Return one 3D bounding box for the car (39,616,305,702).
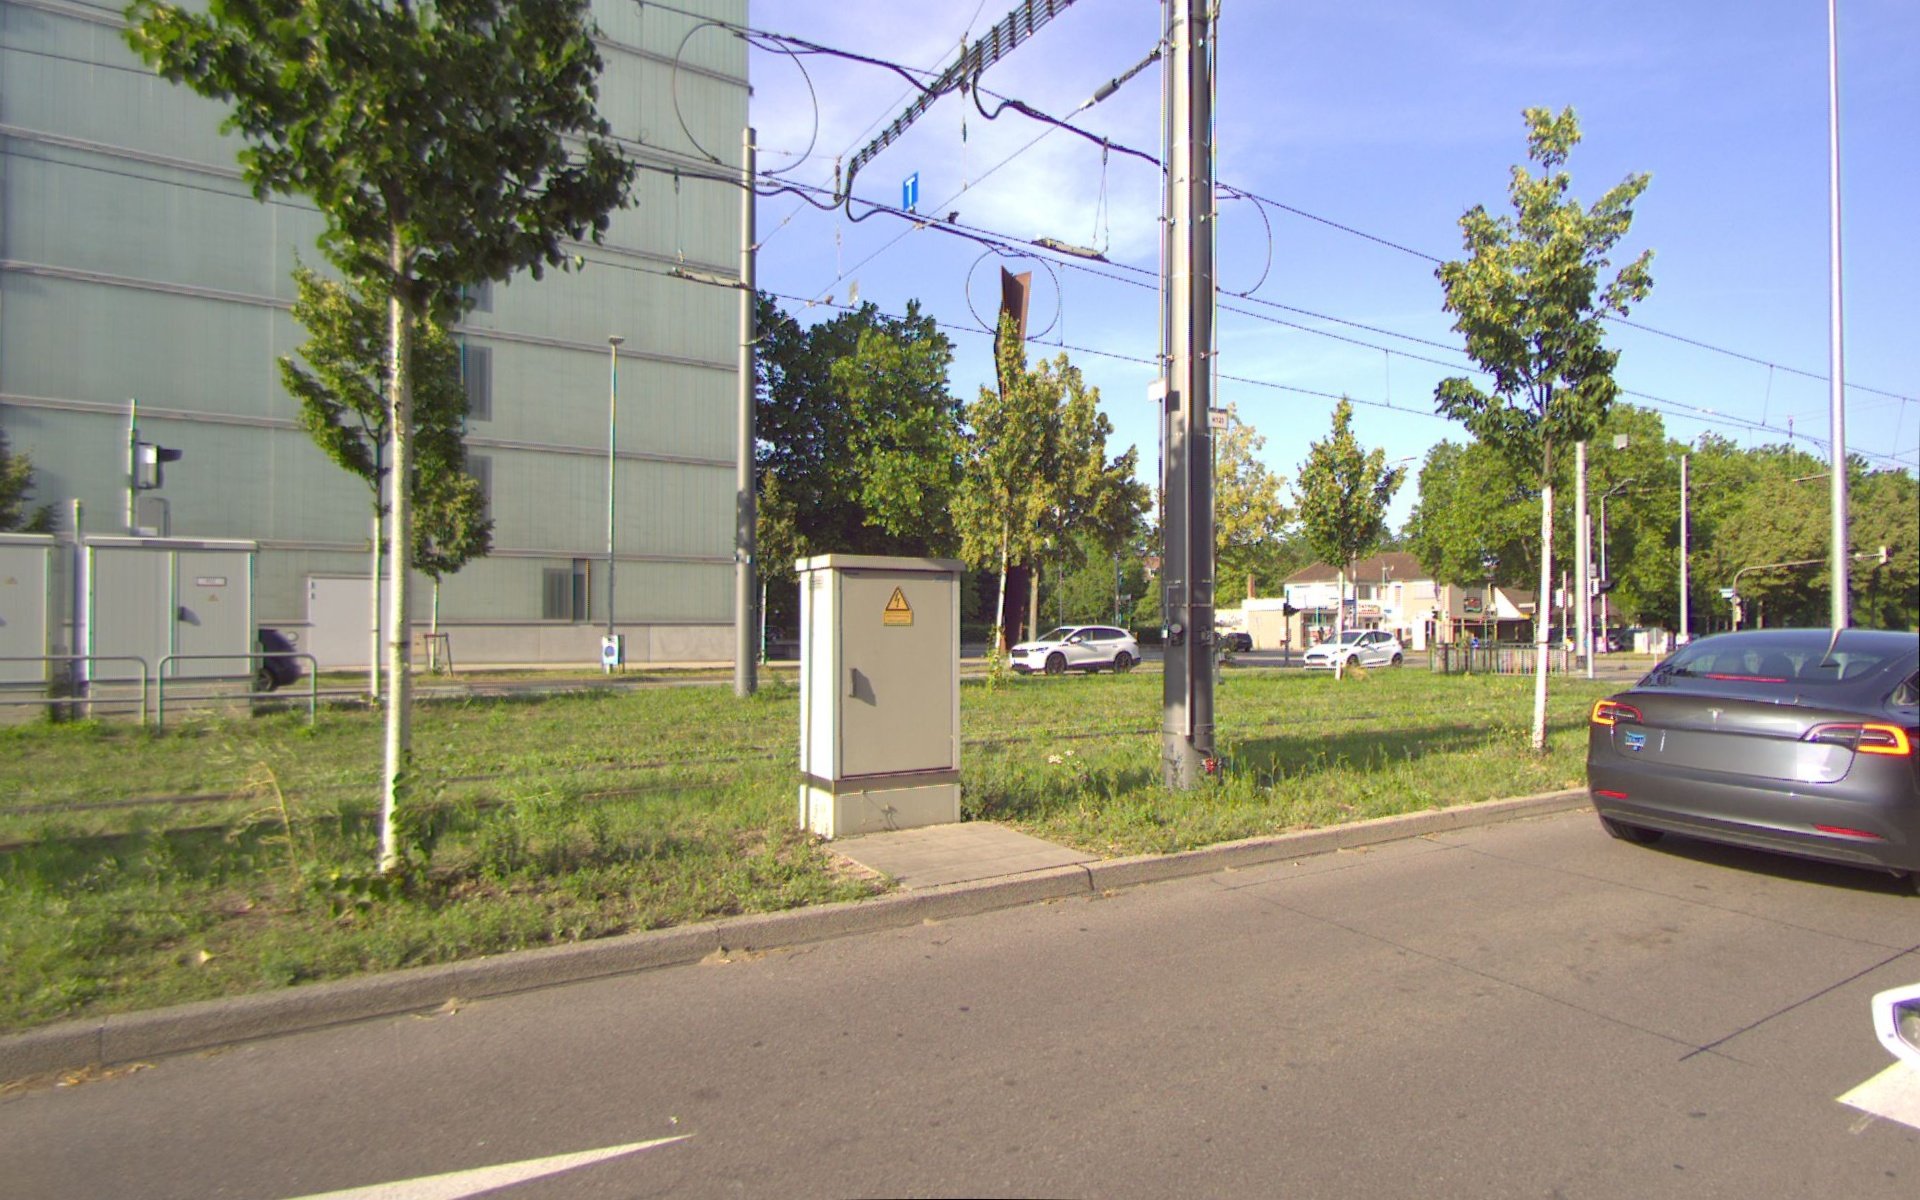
[{"bbox_3d":[-16.269,1.171,21.059,4.131,1.656,1.899,1,-1,-31],"label":"car"}]

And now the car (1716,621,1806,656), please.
[{"bbox_3d":[41.024,1.951,51.428,4.935,1.707,1.984,0,-1,-30],"label":"car"}]

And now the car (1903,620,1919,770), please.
[{"bbox_3d":[11.832,0.975,10.506,4.304,1.498,1.777,0,1,-31],"label":"car"}]

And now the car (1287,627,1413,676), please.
[{"bbox_3d":[13.556,1.742,34.869,4.265,1.548,1.982,0,-1,-33],"label":"car"}]

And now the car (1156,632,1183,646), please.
[{"bbox_3d":[23.343,4.301,112.090,1.668,1.491,3.940,0,-1,-9],"label":"car"}]

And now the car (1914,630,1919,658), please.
[{"bbox_3d":[55.713,2.506,56.534,4.047,1.524,1.983,2,-3,-32],"label":"car"}]

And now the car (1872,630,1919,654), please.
[{"bbox_3d":[65.019,2.905,69.336,4.173,1.548,1.869,0,-1,-30],"label":"car"}]

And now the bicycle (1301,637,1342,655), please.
[{"bbox_3d":[21.371,2.722,59.446,2.167,1.055,0.697,-1,-2,37],"label":"bicycle"}]

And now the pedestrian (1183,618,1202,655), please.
[{"bbox_3d":[13.429,2.106,58.096,0.864,2.135,0.724,-1,-2,-2],"label":"pedestrian"}]

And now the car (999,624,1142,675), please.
[{"bbox_3d":[3.604,1.557,32.606,4.391,1.548,1.896,0,-1,-32],"label":"car"}]

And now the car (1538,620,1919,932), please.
[{"bbox_3d":[5.929,0.875,6.648,4.287,1.404,1.879,0,1,-32],"label":"car"}]

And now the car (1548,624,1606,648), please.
[{"bbox_3d":[46.368,2.688,75.462,3.947,1.773,1.875,1,-2,-26],"label":"car"}]

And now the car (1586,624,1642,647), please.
[{"bbox_3d":[50.543,2.722,77.639,3.947,1.773,1.875,1,-2,-26],"label":"car"}]

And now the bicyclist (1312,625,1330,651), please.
[{"bbox_3d":[21.385,2.253,59.447,0.836,1.512,0.697,-1,-1,37],"label":"bicyclist"}]

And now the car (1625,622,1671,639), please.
[{"bbox_3d":[64.595,2.895,94.351,3.947,1.580,1.875,1,-2,-26],"label":"car"}]

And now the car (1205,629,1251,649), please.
[{"bbox_3d":[24.236,3.500,91.034,1.972,1.751,3.977,1,-1,-24],"label":"car"}]
